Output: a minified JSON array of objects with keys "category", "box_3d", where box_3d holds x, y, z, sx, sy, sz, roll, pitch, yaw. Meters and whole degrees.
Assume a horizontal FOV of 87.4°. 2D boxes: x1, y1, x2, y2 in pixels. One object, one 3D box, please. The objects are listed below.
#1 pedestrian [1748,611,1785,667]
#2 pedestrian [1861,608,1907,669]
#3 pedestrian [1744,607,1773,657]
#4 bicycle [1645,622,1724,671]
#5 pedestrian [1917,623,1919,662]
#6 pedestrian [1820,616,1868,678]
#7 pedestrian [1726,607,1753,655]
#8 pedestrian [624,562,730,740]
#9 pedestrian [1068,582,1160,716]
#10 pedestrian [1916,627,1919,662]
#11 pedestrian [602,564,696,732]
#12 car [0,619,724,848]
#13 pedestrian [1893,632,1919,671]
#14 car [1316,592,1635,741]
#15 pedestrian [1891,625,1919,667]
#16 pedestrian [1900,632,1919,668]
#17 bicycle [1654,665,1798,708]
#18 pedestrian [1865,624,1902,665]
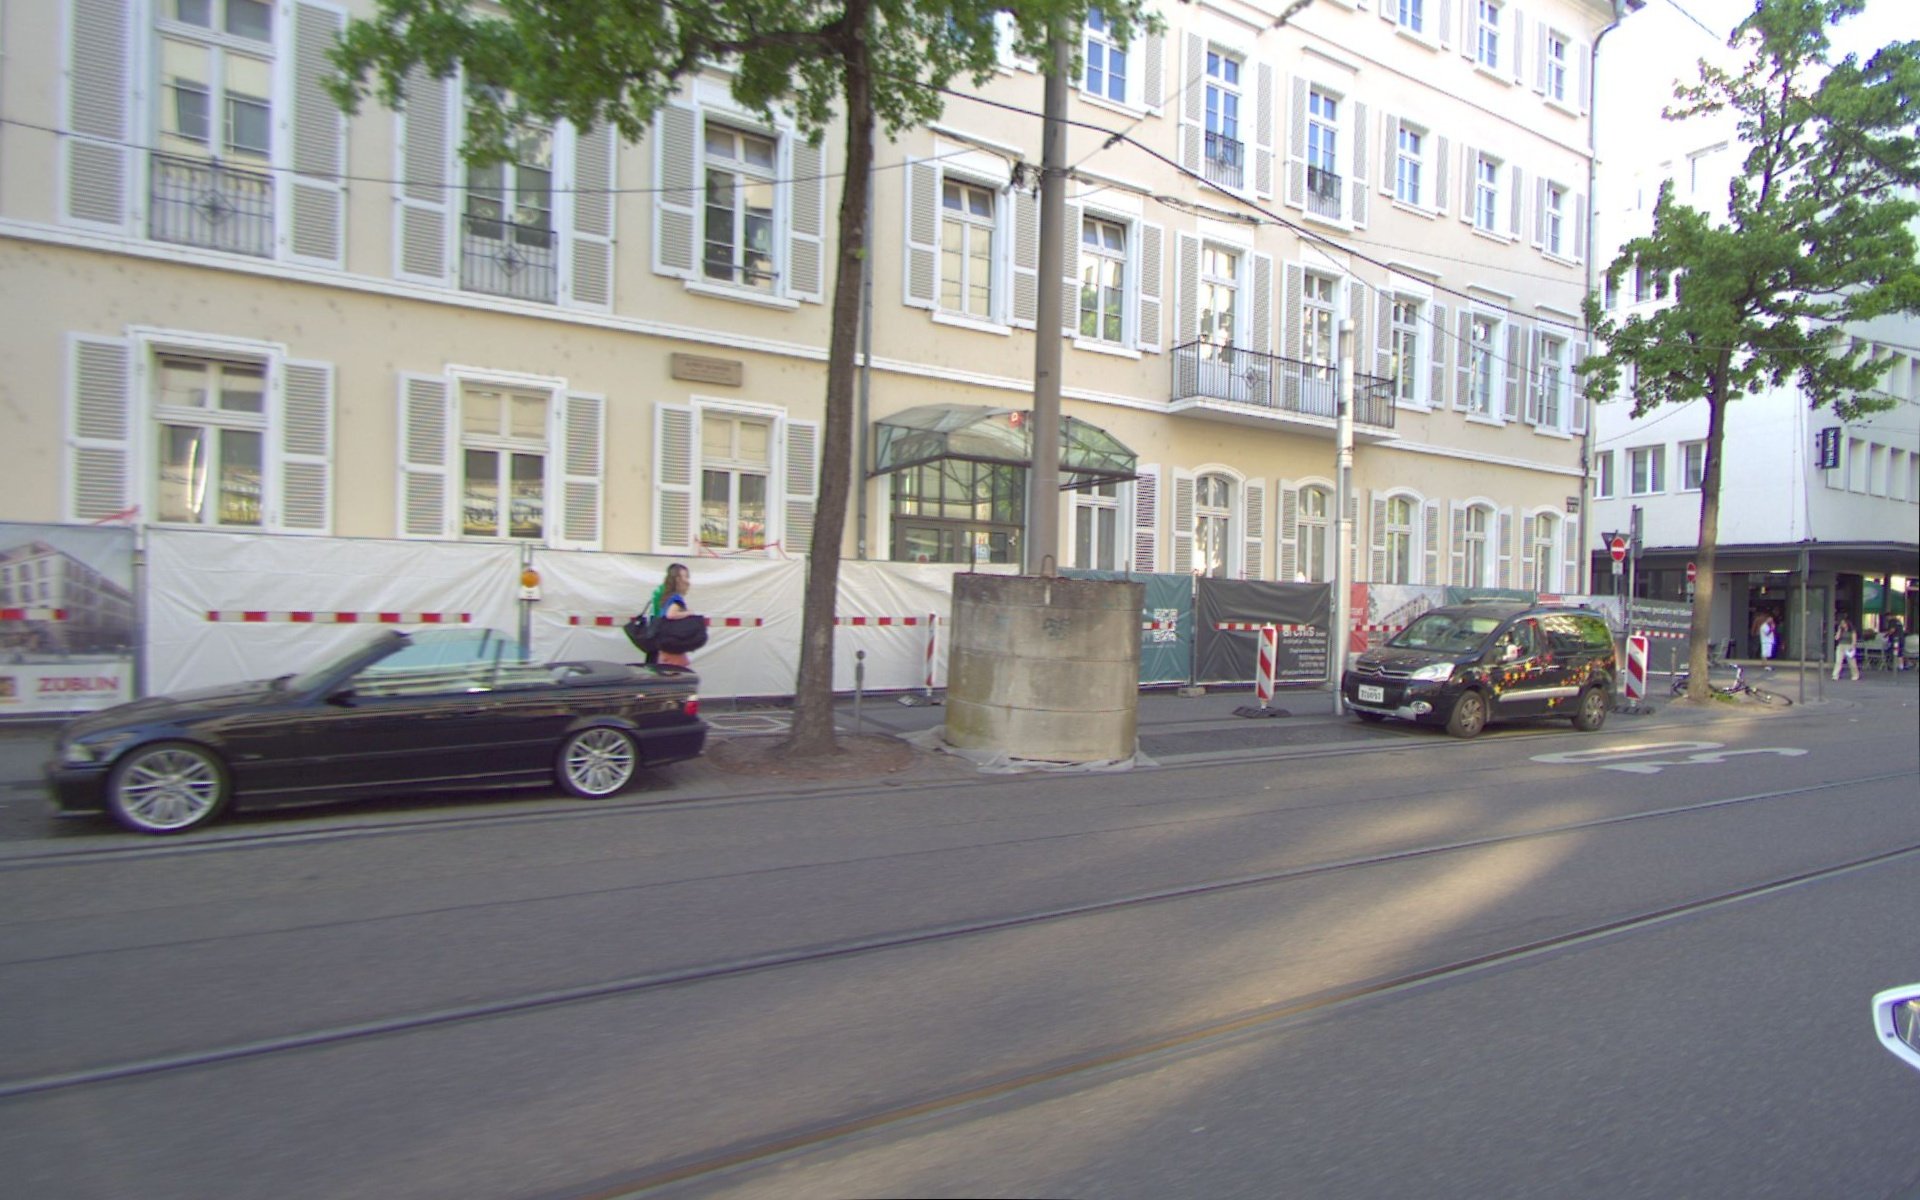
[{"category":"pedestrian","box_3d":[24.644,1.188,30.684,0.787,1.636,0.861,1,2,44]},{"category":"pedestrian","box_3d":[28.561,1.177,31.044,0.751,1.840,0.685,1,1,-14]},{"category":"pedestrian","box_3d":[26.717,1.062,33.609,0.608,1.625,0.405,1,0,4]},{"category":"bicycle","box_3d":[22.363,1.401,31.044,0.703,1.399,1.867,-2,1,-27]},{"category":"pedestrian","box_3d":[31.403,1.399,32.418,0.678,1.252,0.550,1,2,-29]},{"category":"pedestrian","box_3d":[24.310,1.279,27.626,0.955,1.678,0.704,0,0,-28]},{"category":"pedestrian","box_3d":[26.860,1.072,34.620,0.608,1.625,0.405,1,0,4]},{"category":"pedestrian","box_3d":[-3.069,0.516,10.858,0.874,1.806,0.861,1,3,-30]},{"category":"pedestrian","box_3d":[2.203,0.681,14.402,0.972,1.816,0.771,1,2,-28]},{"category":"pedestrian","box_3d":[32.461,1.496,33.543,0.678,1.177,0.550,1,2,-29]},{"category":"pedestrian","box_3d":[-3.584,0.522,11.549,0.866,1.837,0.715,1,3,-30]},{"category":"car","box_3d":[-4.292,0.856,7.854,4.455,1.262,1.709,1,2,-31]},{"category":"pedestrian","box_3d":[31.051,1.675,32.872,0.678,1.252,0.550,1,2,-29]},{"category":"car","box_3d":[7.458,0.867,14.452,4.502,1.857,1.850,1,1,-29]},{"category":"pedestrian","box_3d":[30.283,1.465,32.054,0.719,1.299,0.624,1,2,-29]},{"category":"pedestrian","box_3d":[32.384,1.684,34.030,0.678,1.177,0.550,1,2,-29]},{"category":"bicycle","box_3d":[14.524,1.615,19.092,1.265,0.617,1.789,1,1,-26]},{"category":"pedestrian","box_3d":[30.032,1.446,32.669,0.730,1.286,0.642,1,2,-29]}]
